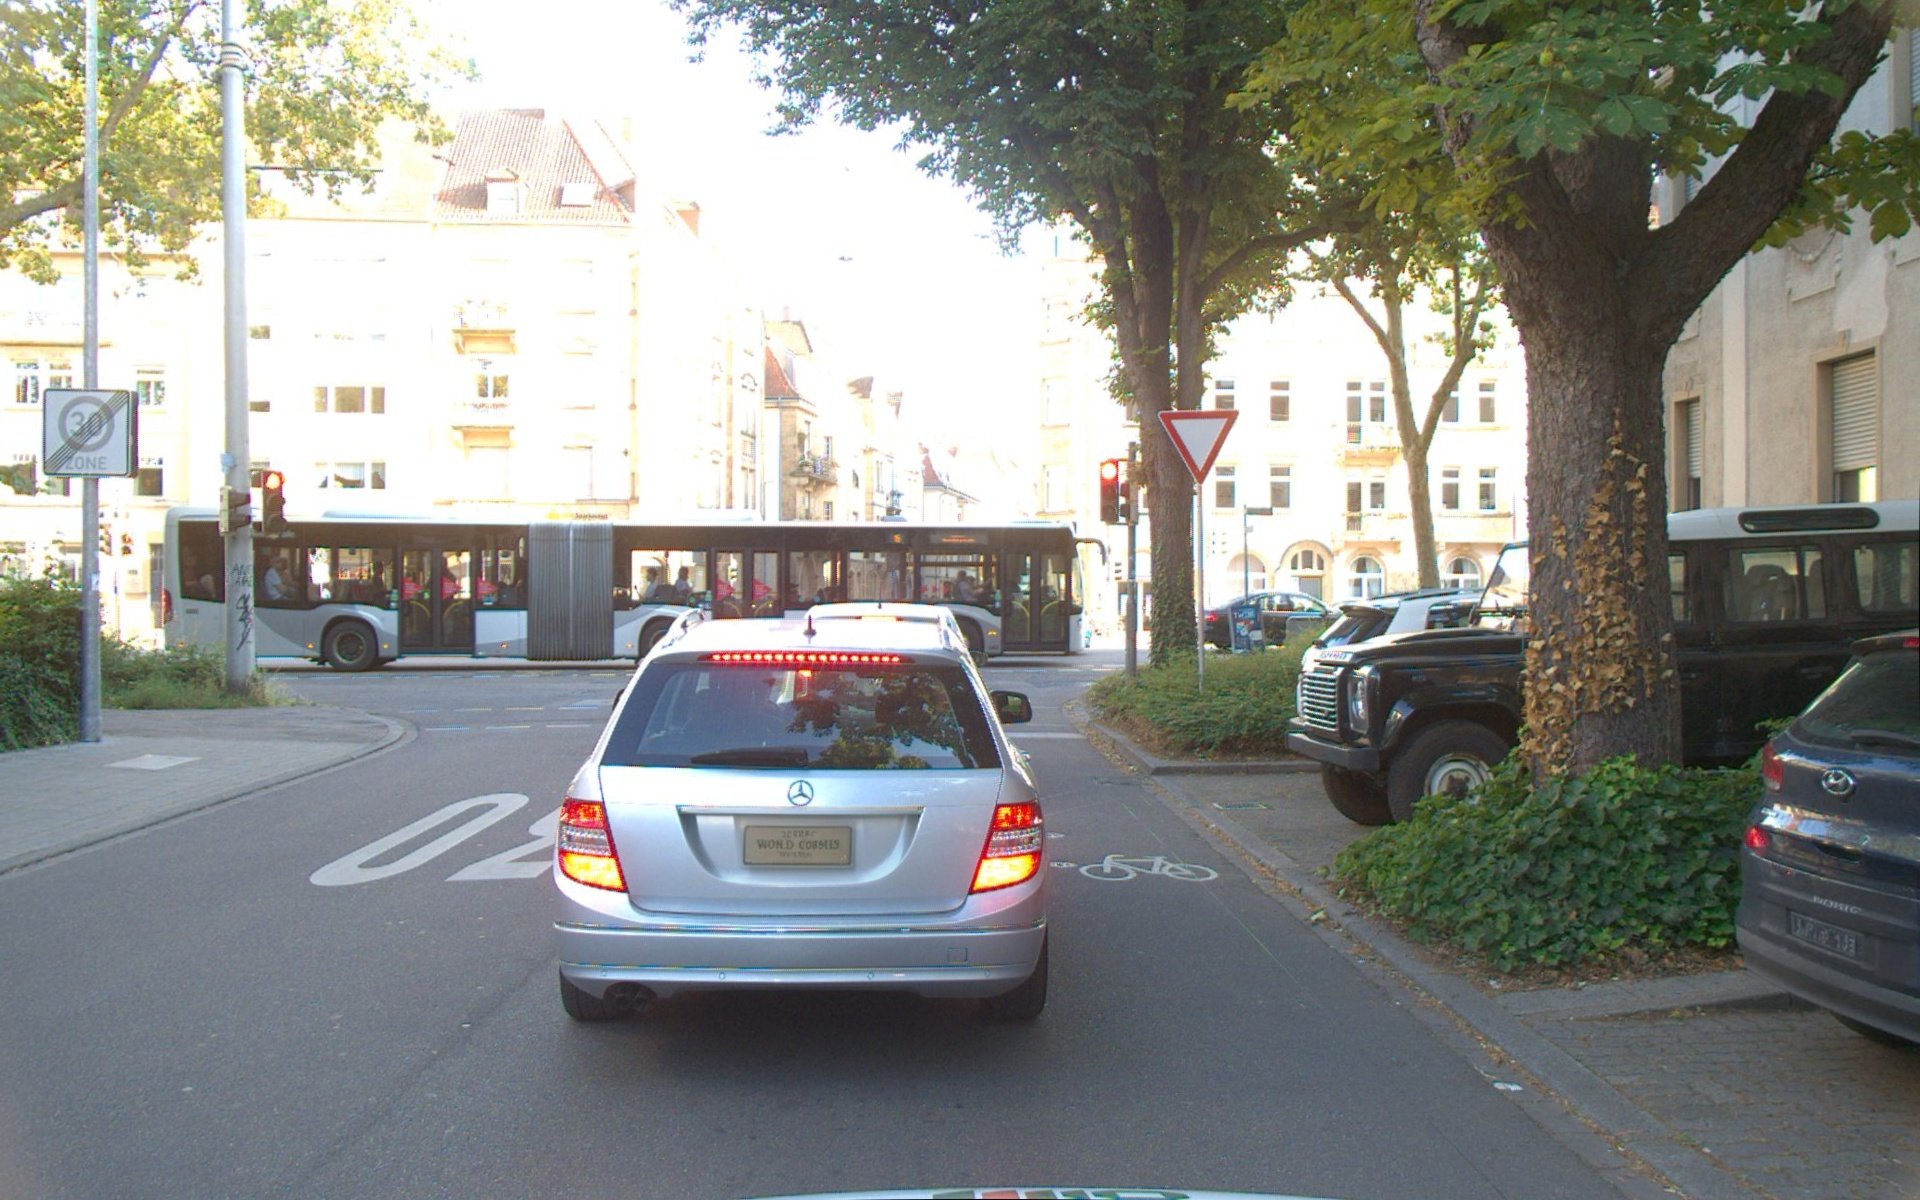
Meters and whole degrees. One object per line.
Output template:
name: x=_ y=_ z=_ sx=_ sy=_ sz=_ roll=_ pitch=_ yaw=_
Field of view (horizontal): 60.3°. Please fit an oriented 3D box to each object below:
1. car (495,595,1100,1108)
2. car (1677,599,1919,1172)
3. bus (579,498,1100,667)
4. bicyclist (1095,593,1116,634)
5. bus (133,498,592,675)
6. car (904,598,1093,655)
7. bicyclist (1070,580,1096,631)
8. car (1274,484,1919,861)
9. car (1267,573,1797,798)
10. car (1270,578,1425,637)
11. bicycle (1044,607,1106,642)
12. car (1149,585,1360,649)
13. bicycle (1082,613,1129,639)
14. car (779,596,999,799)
car: x=-0.559 y=0.731 z=7.090 sx=1.741 sy=1.477 sz=4.546 roll=1 pitch=0 yaw=-2
car: x=4.275 y=0.708 z=4.790 sx=3.650 sy=1.477 sz=1.707 roll=-1 pitch=0 yaw=-4
bus: x=-2.455 y=-0.395 z=34.024 sx=10.258 sy=3.257 sz=2.906 roll=-1 pitch=0 yaw=-9
bicyclist: x=5.176 y=0.461 z=58.942 sx=0.631 sy=1.451 sz=0.636 roll=0 pitch=0 yaw=-6
bus: x=-11.480 y=-0.291 z=32.579 sx=8.024 sy=3.257 sz=2.906 roll=-1 pitch=0 yaw=-9
car: x=0.853 y=0.592 z=38.142 sx=4.119 sy=1.258 sz=1.715 roll=0 pitch=0 yaw=-9
bicyclist: x=4.556 y=0.194 z=61.112 sx=0.874 sy=1.892 sz=0.636 roll=0 pitch=0 yaw=-5
car: x=4.358 y=0.394 z=10.368 sx=4.377 sy=2.072 sz=1.699 roll=-1 pitch=0 yaw=-4
car: x=4.499 y=0.637 z=13.336 sx=3.650 sy=1.597 sz=1.707 roll=-1 pitch=0 yaw=-4
car: x=10.078 y=0.193 z=43.105 sx=3.618 sy=1.475 sz=1.513 roll=0 pitch=0 yaw=-9
bicycle: x=4.257 y=0.896 z=61.082 sx=2.212 sy=1.268 sz=0.636 roll=0 pitch=0 yaw=-5
car: x=6.934 y=0.387 z=39.114 sx=4.602 sy=1.453 sz=1.715 roll=0 pitch=0 yaw=-9
bicycle: x=5.189 y=0.927 z=58.939 sx=1.586 sy=0.892 sz=0.636 roll=0 pitch=0 yaw=-6
car: x=-0.603 y=0.711 z=14.216 sx=1.587 sy=1.472 sz=4.342 roll=1 pitch=0 yaw=-2
